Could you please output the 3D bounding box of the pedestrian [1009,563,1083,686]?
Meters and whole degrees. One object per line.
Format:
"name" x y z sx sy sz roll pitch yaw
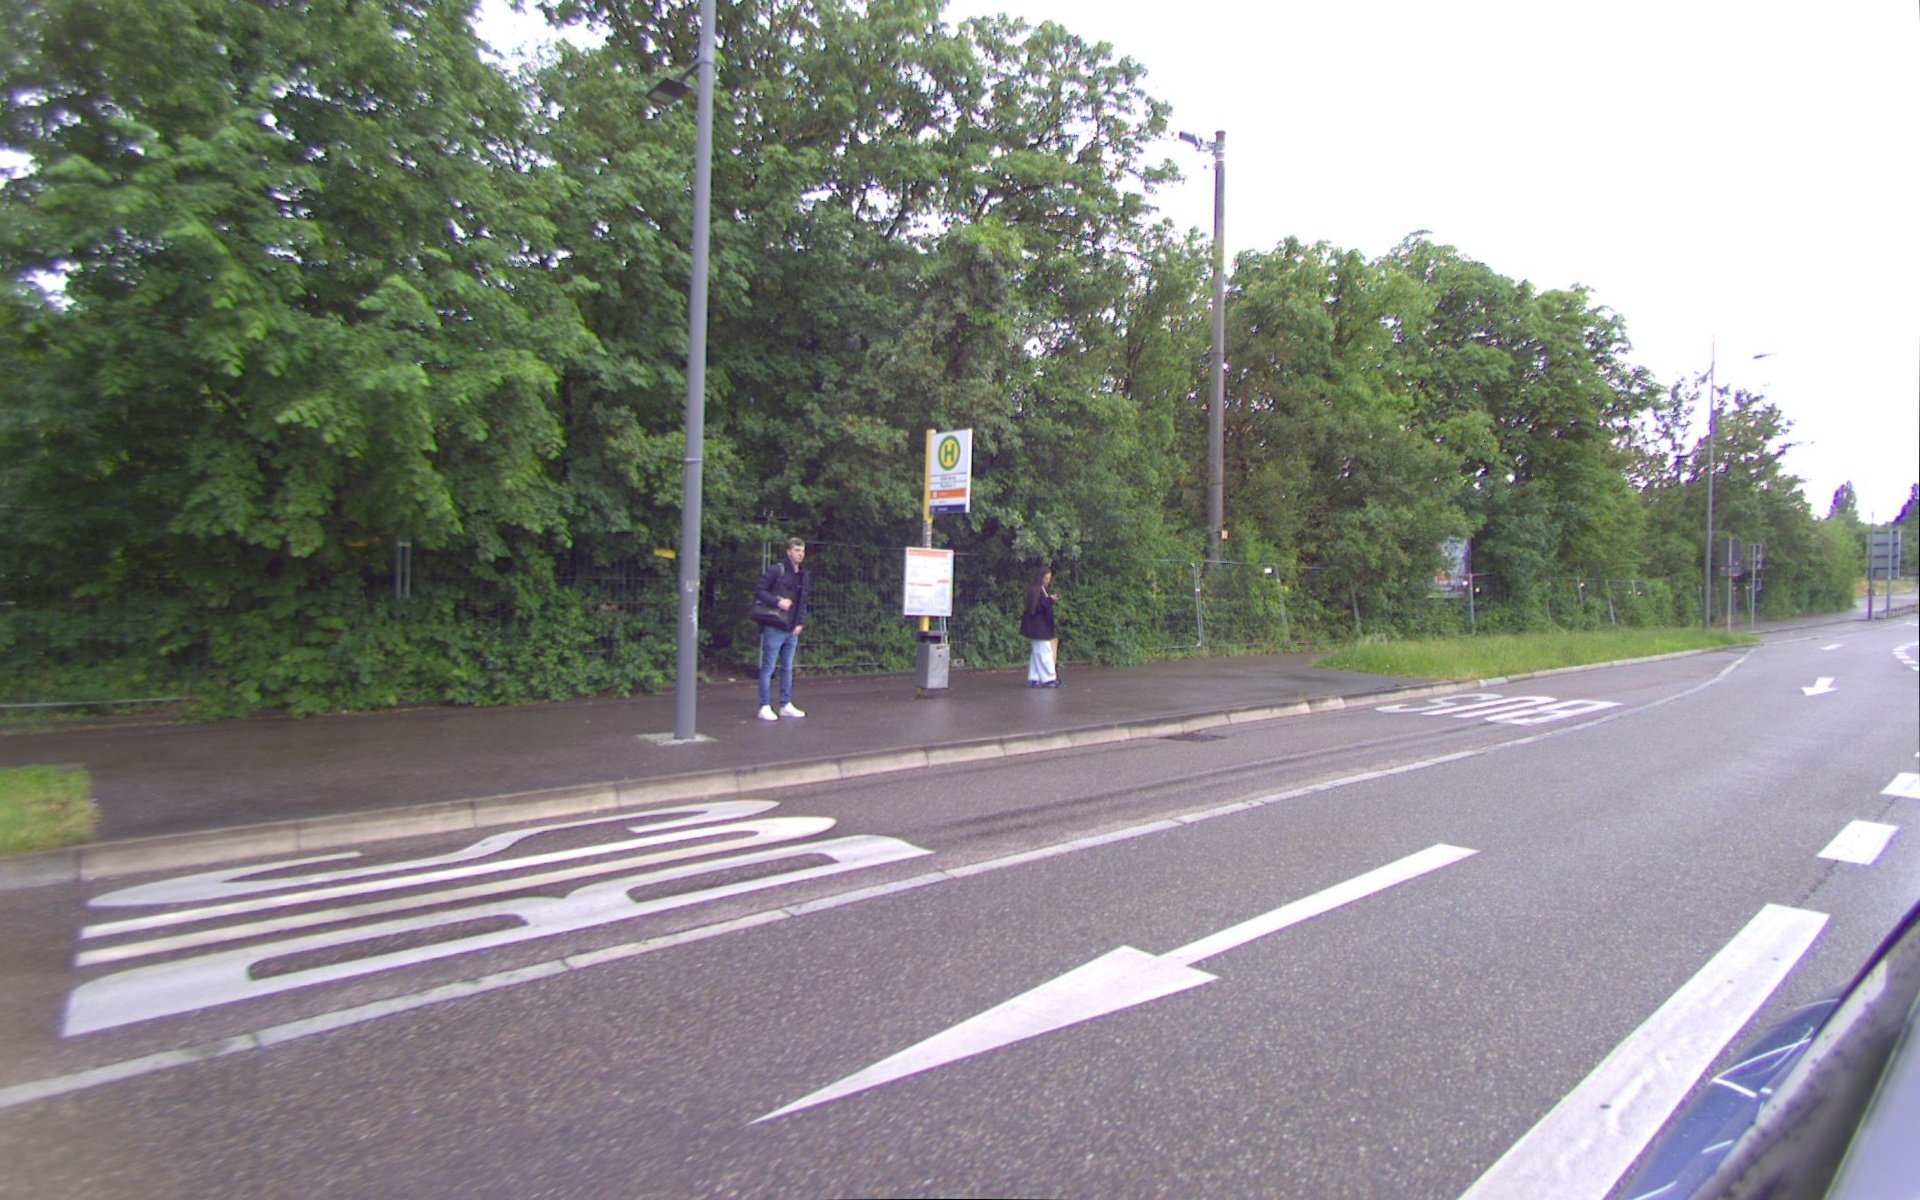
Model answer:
"pedestrian" 1.215 0.324 14.304 0.675 1.678 0.780 2 1 43

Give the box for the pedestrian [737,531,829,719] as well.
"pedestrian" -1.891 0.247 10.817 0.640 1.924 0.707 2 1 43
